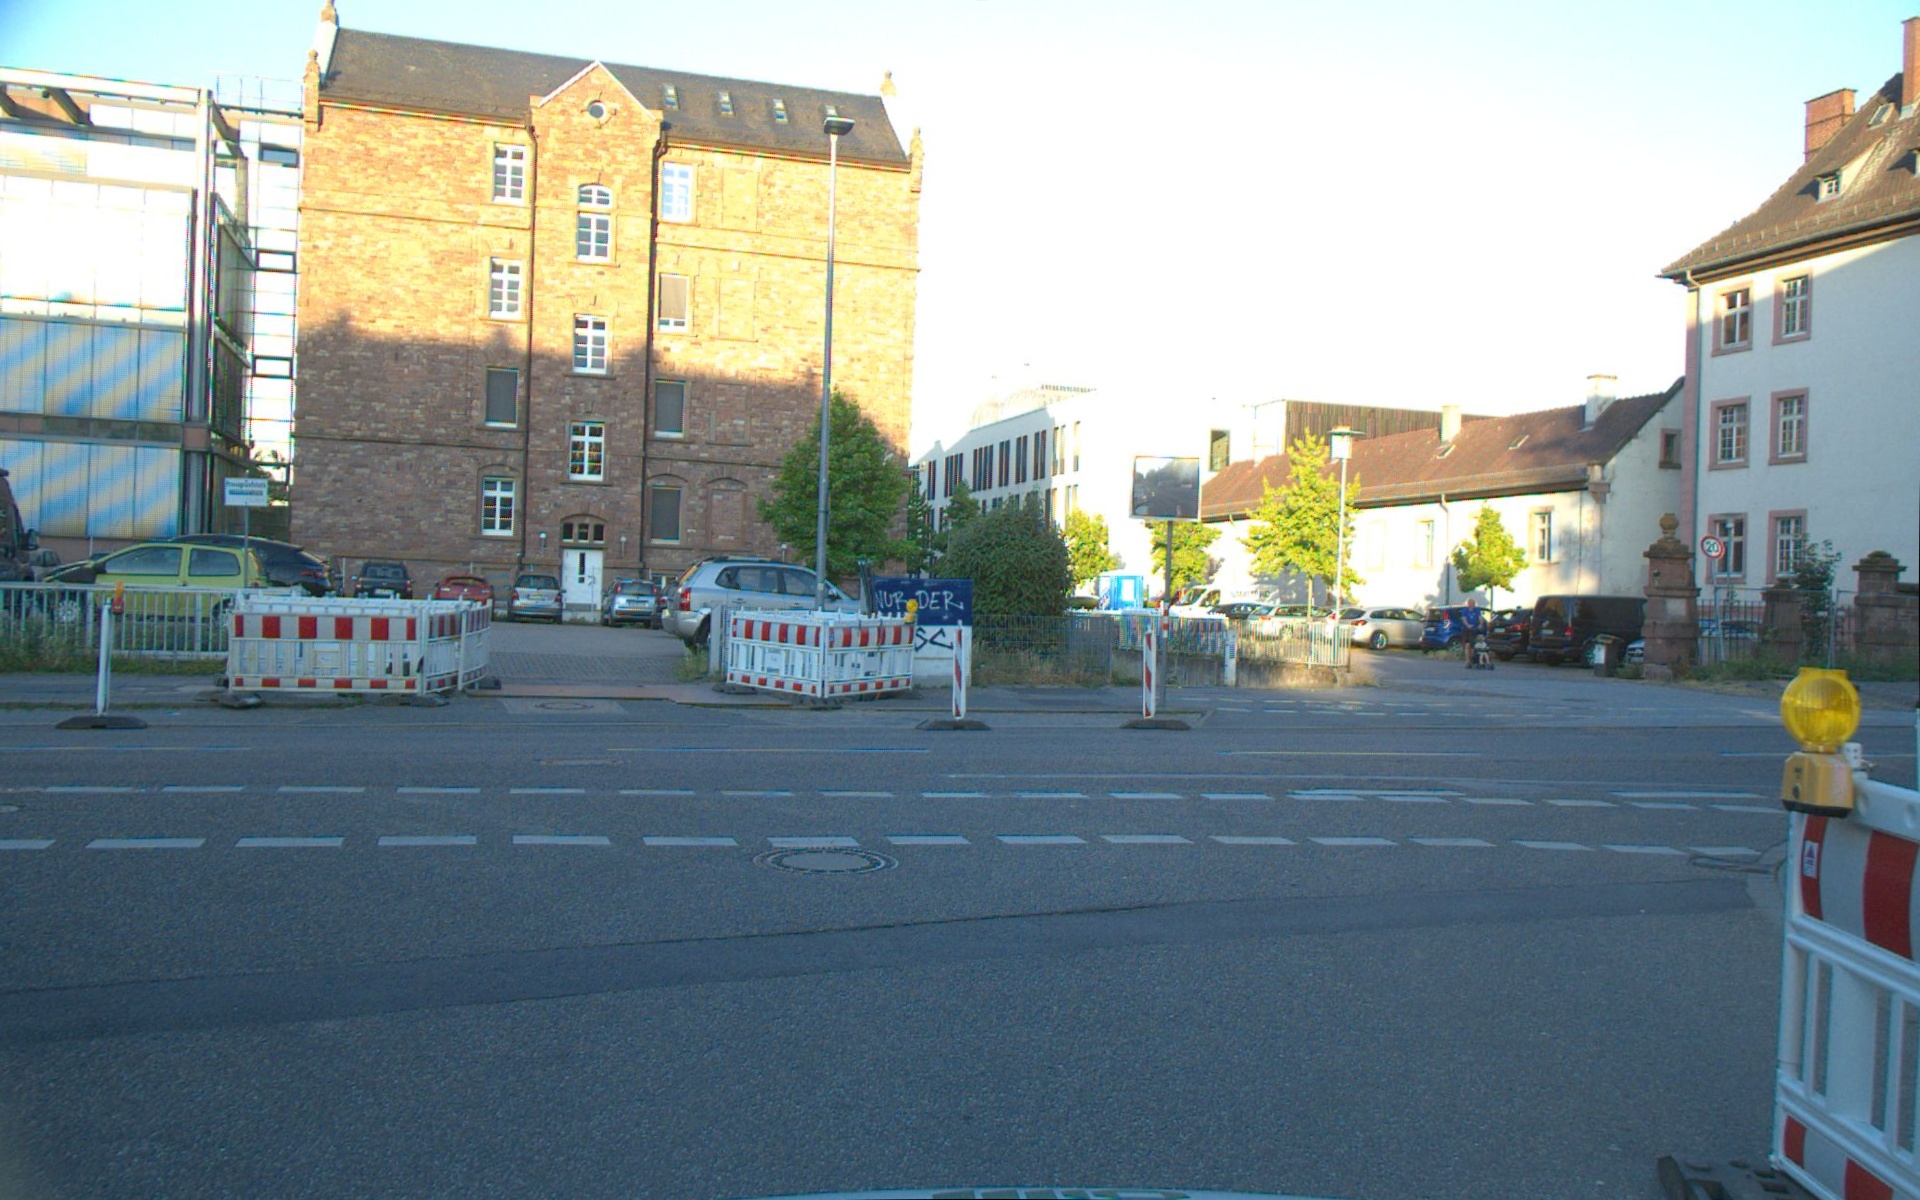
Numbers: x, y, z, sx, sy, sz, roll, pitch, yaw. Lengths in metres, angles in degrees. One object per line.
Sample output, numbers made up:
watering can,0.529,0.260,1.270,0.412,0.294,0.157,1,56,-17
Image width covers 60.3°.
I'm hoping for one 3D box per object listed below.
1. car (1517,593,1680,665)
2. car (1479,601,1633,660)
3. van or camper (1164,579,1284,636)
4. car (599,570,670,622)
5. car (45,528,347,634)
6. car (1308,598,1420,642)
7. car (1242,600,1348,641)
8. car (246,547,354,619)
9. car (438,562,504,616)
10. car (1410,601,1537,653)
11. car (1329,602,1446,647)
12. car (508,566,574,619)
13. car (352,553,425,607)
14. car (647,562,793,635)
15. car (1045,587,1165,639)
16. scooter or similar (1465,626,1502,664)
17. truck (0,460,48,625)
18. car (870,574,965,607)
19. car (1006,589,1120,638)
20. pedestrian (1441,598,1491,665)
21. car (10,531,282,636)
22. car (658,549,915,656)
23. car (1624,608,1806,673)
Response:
car,17.924,0.809,46.464,3.929,1.891,1.988,2,0,-21
car,17.682,0.906,49.104,3.929,1.600,1.988,2,0,-21
van or camper,11.426,0.328,71.534,4.890,2.279,1.677,2,0,-21
car,-10.520,-0.160,53.262,1.866,1.564,4.161,2,1,-16
car,-13.124,-0.312,28.678,4.508,1.666,1.569,1,0,-16
car,14.789,0.735,60.544,3.685,1.470,1.677,2,0,-21
car,12.993,0.791,64.189,3.685,1.470,1.677,2,0,-21
car,-15.947,-0.435,40.178,1.961,1.603,4.346,2,1,-16
car,-15.281,-0.372,51.825,1.866,1.564,4.161,2,1,-16
car,16.658,0.878,53.641,3.685,1.555,1.677,2,0,-21
car,14.987,0.851,58.002,3.685,1.470,1.677,2,0,-21
car,-13.360,-0.254,52.590,1.866,1.564,4.161,2,1,-16
car,-17.702,-0.631,51.373,1.866,1.564,4.161,2,1,-16
car,-6.082,-0.040,41.837,3.421,1.738,1.660,1,0,-18
car,4.919,0.436,56.252,3.685,1.631,1.677,2,0,-21
scooter or similar,13.055,1.124,41.269,0.505,0.906,0.802,2,0,-16
truck,-16.700,-0.963,26.715,2.296,2.662,4.952,2,1,-16
car,-1.933,-0.427,74.625,3.925,1.336,1.868,2,0,-18
car,3.661,0.483,58.979,3.685,1.631,1.677,2,0,-21
pedestrian,12.899,0.804,42.179,0.737,1.671,1.010,2,0,-16
car,-12.784,-0.249,26.189,3.571,1.530,1.630,1,0,-16
car,-3.054,0.048,28.974,4.203,1.738,1.694,1,0,-18
car,19.064,1.018,41.771,3.929,1.484,1.988,2,0,-21
